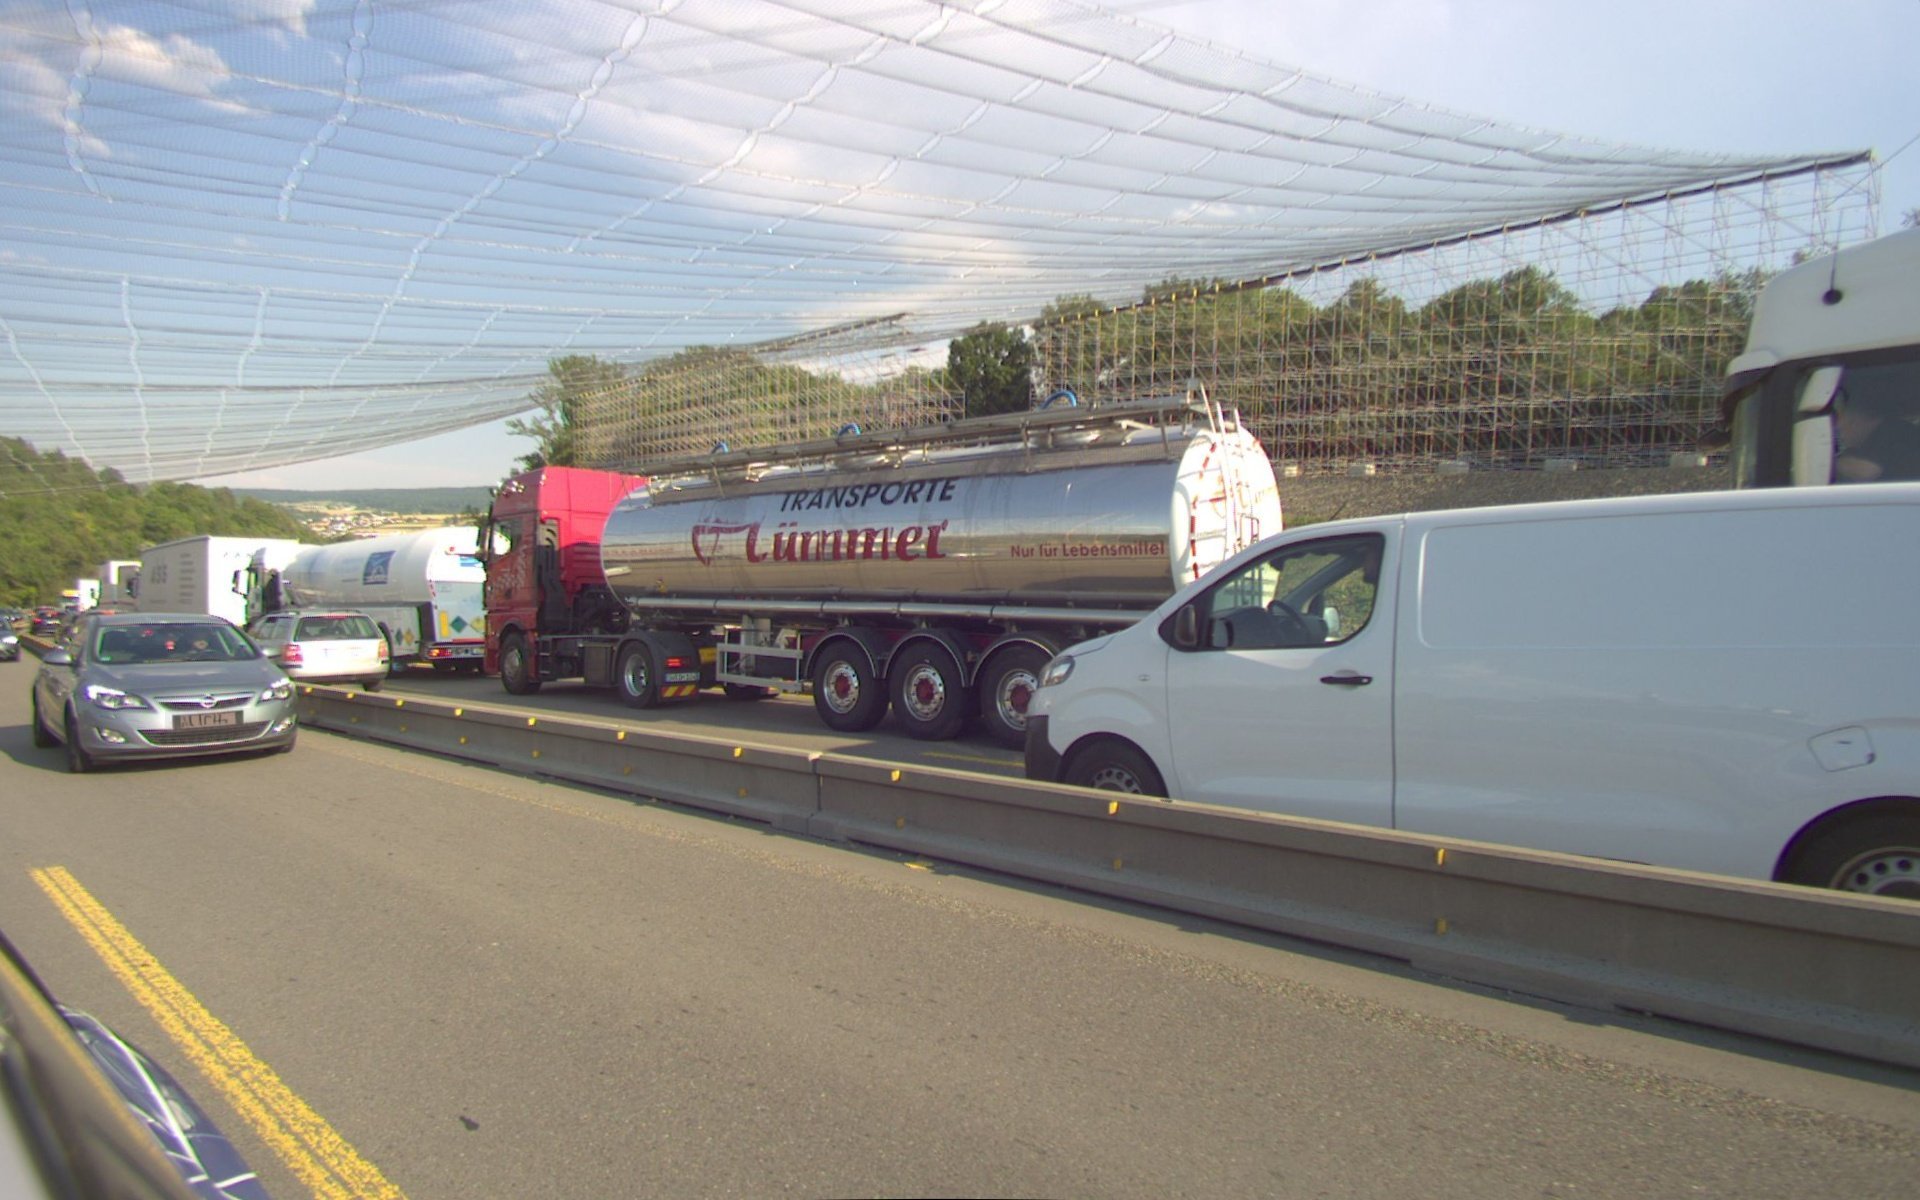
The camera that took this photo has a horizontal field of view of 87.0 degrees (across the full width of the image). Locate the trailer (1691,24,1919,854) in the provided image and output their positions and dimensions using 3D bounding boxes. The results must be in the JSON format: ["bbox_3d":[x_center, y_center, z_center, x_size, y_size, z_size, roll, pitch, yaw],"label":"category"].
[{"bbox_3d":[9.115,-0.872,3.550,10.500,4.361,2.451,0,0,39],"label":"trailer"}]

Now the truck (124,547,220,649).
[{"bbox_3d":[-33.699,-0.064,43.205,5.618,4.076,2.446,-1,0,44],"label":"truck"}]

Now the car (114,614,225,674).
[{"bbox_3d":[-21.094,1.110,26.943,4.386,1.437,1.610,0,0,42],"label":"car"}]

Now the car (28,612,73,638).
[{"bbox_3d":[-50.574,1.376,56.256,3.901,1.386,1.589,0,0,44],"label":"car"}]

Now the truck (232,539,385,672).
[{"bbox_3d":[-18.586,0.158,28.743,5.618,3.395,2.387,0,0,43],"label":"truck"}]

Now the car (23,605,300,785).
[{"bbox_3d":[-8.458,0.802,10.559,4.354,1.484,1.736,0,0,44],"label":"car"}]

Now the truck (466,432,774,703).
[{"bbox_3d":[-5.857,-0.442,17.027,5.614,3.813,2.407,0,0,41],"label":"truck"}]

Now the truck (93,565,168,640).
[{"bbox_3d":[-46.452,0.133,56.590,2.600,3.939,7.209,0,0,-44],"label":"truck"}]

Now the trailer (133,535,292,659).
[{"bbox_3d":[-28.643,-0.052,38.365,14.100,3.993,2.401,0,0,43],"label":"trailer"}]

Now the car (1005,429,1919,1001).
[{"bbox_3d":[2.689,0.396,5.074,4.832,1.940,1.799,0,0,40],"label":"car"}]

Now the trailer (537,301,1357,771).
[{"bbox_3d":[-1.402,-0.490,13.020,12.044,3.819,2.283,0,0,40],"label":"trailer"}]

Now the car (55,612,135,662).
[{"bbox_3d":[-29.793,1.237,34.822,3.944,1.599,1.731,0,0,44],"label":"car"}]

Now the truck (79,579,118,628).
[{"bbox_3d":[-81.504,0.348,95.692,2.688,4.259,14.189,0,0,-41],"label":"truck"}]

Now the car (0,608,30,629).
[{"bbox_3d":[-72.897,1.382,77.859,1.787,1.580,4.368,0,0,-45],"label":"car"}]

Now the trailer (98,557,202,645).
[{"bbox_3d":[-42.039,0.085,52.277,13.338,4.046,2.640,0,0,44],"label":"trailer"}]

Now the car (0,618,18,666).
[{"bbox_3d":[-30.179,1.272,31.005,3.824,1.394,1.740,0,0,44],"label":"car"}]

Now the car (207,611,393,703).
[{"bbox_3d":[-11.928,0.919,18.159,4.655,1.437,1.610,0,0,41],"label":"car"}]

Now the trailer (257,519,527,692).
[{"bbox_3d":[-14.315,0.139,24.722,12.053,3.387,2.281,0,0,43],"label":"trailer"}]
